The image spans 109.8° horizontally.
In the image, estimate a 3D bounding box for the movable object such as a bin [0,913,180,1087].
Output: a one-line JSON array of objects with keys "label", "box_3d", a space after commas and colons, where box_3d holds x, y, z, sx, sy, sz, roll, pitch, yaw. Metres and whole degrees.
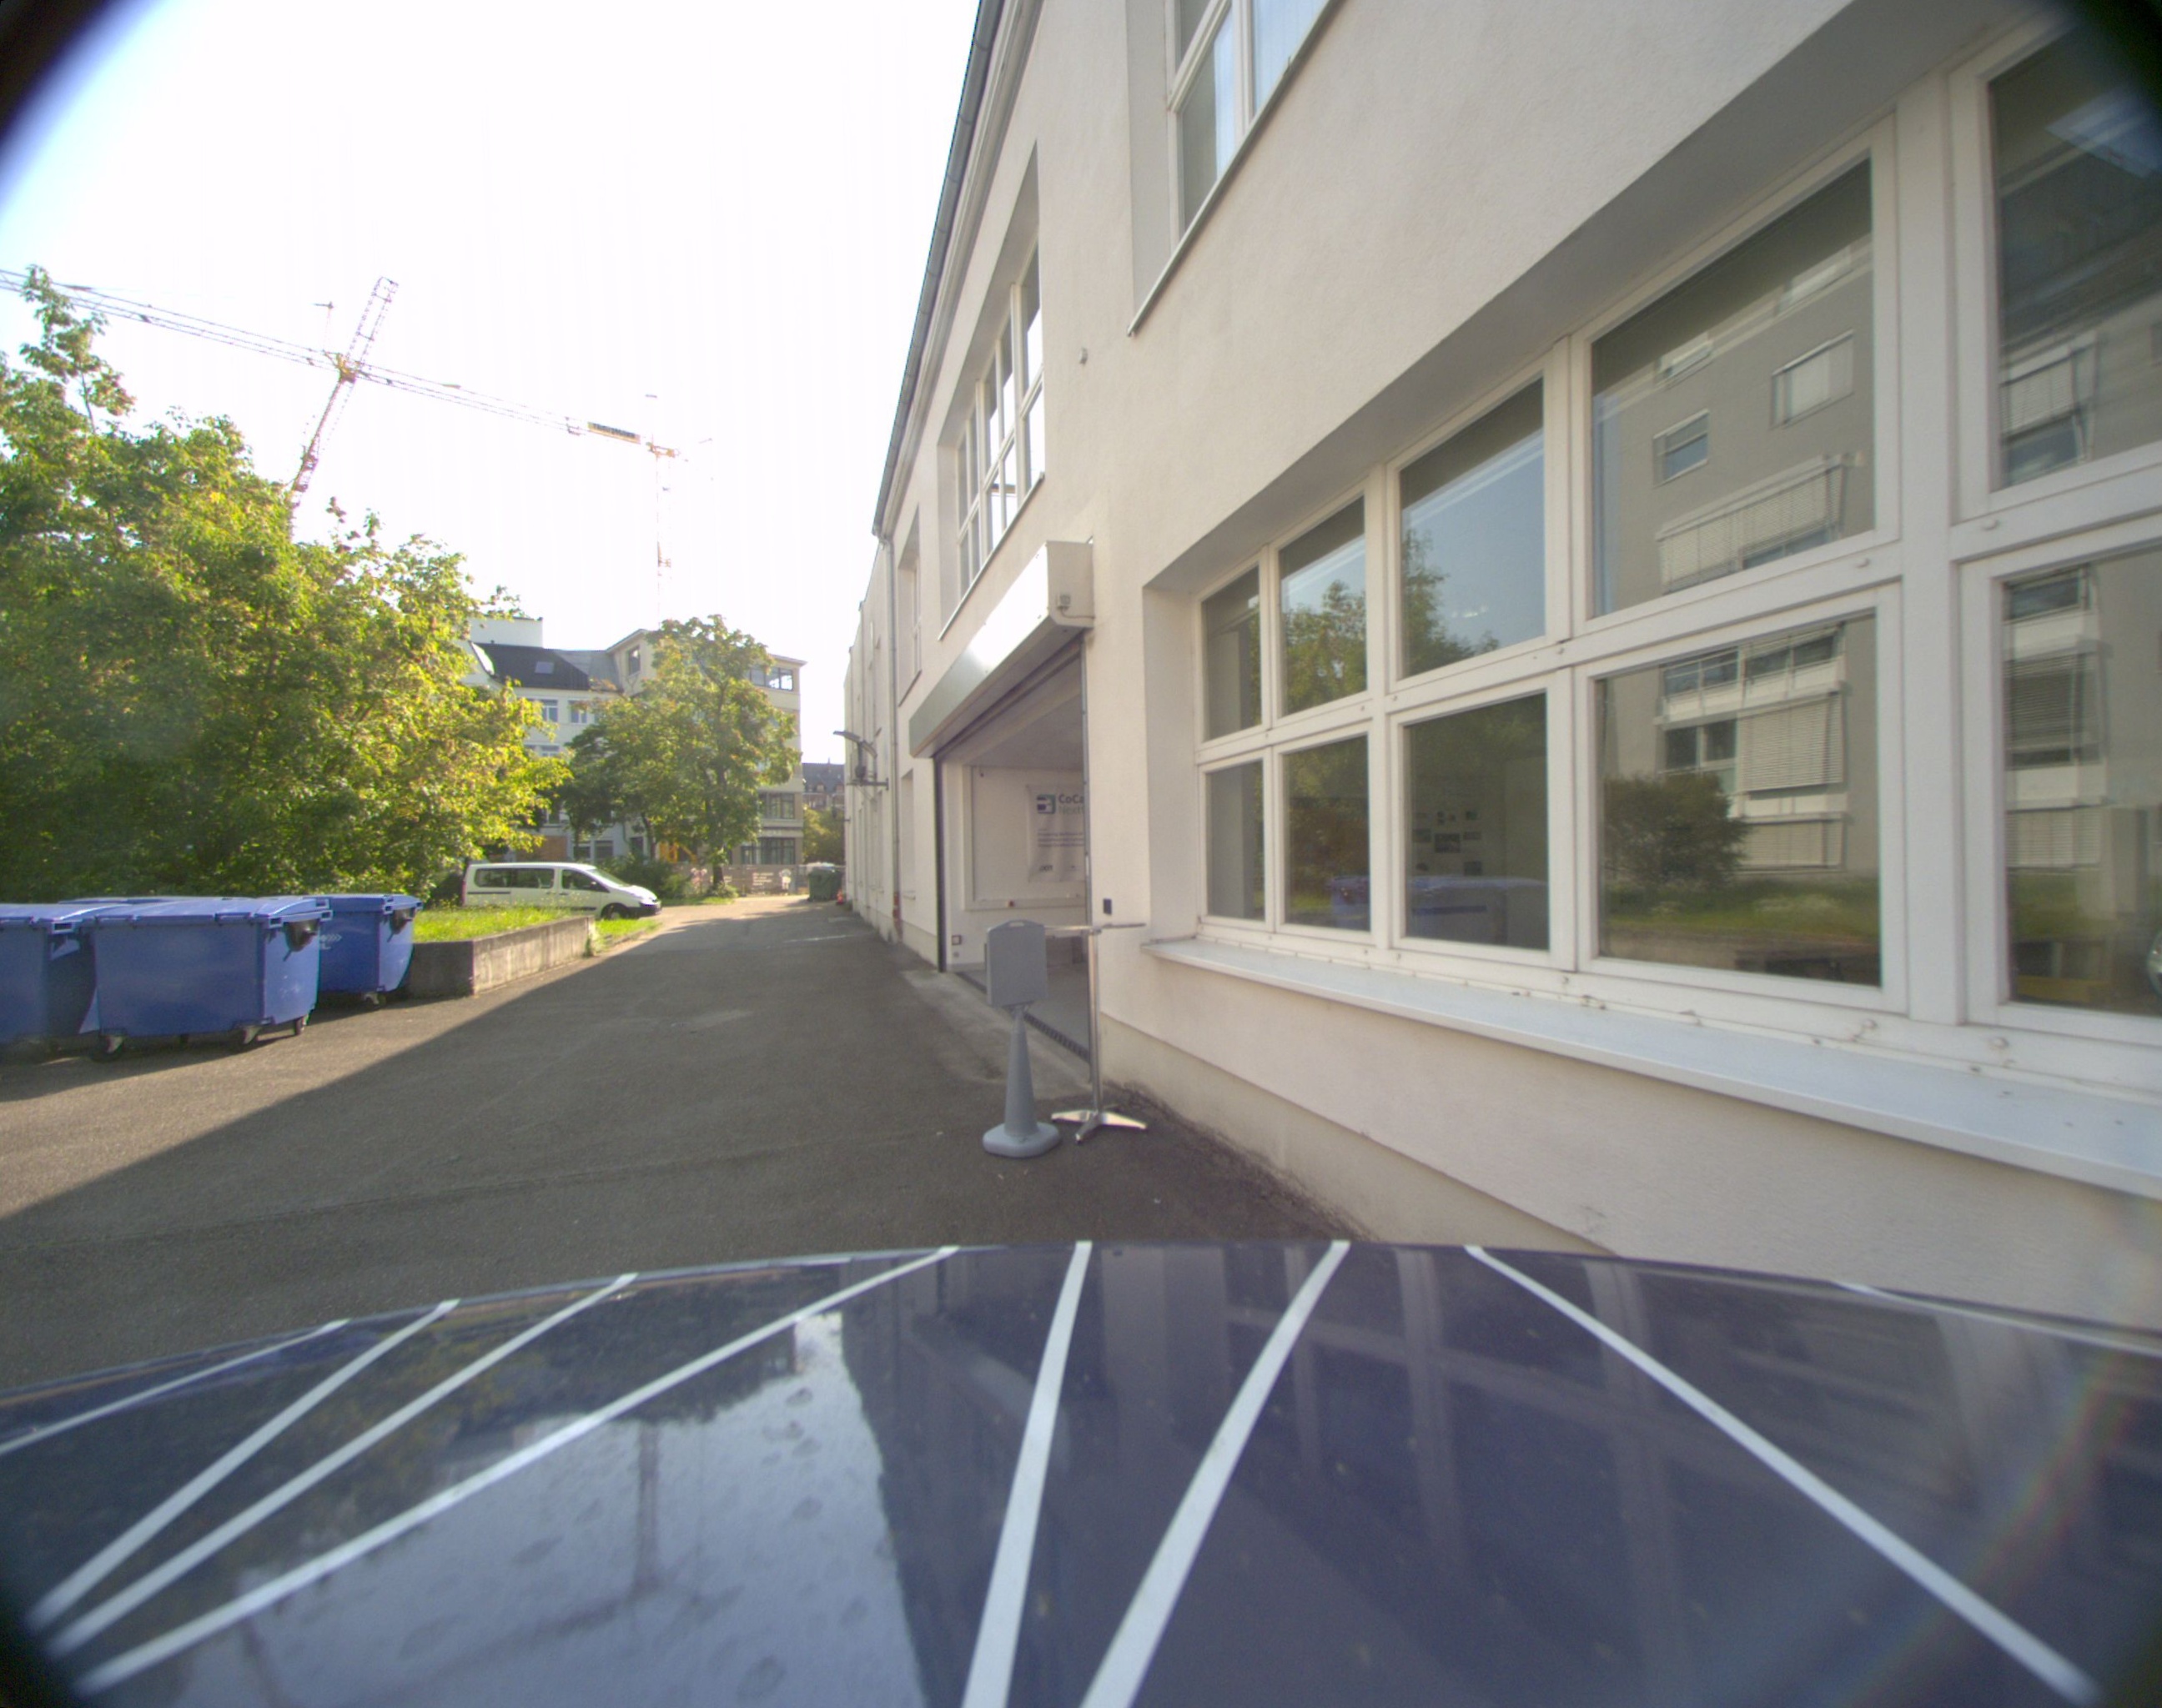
[{"label": "movable object such as a bin", "box_3d": [-9.282, 1.246, 6.677, 1.259, 1.319, 1.273, -1, 0, -19]}]

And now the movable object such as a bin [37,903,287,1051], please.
[{"label": "movable object such as a bin", "box_3d": [-9.751, 1.247, 8.170, 1.201, 1.319, 1.273, -1, 0, -19]}]

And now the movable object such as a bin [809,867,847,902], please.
[{"label": "movable object such as a bin", "box_3d": [-11.306, 1.346, 33.962, 1.527, 1.457, 1.273, -1, 0, -19]}]

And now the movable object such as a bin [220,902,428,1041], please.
[{"label": "movable object such as a bin", "box_3d": [-8.439, 1.253, 8.580, 1.201, 1.319, 1.273, -1, 0, -19]}]

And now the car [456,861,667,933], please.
[{"label": "car", "box_3d": [-15.204, 1.203, 22.578, 4.797, 1.920, 1.906, -1, -1, -18]}]

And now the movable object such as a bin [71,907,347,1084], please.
[{"label": "movable object such as a bin", "box_3d": [-7.996, 1.228, 7.100, 1.216, 1.343, 1.273, -1, 0, -21]}]
